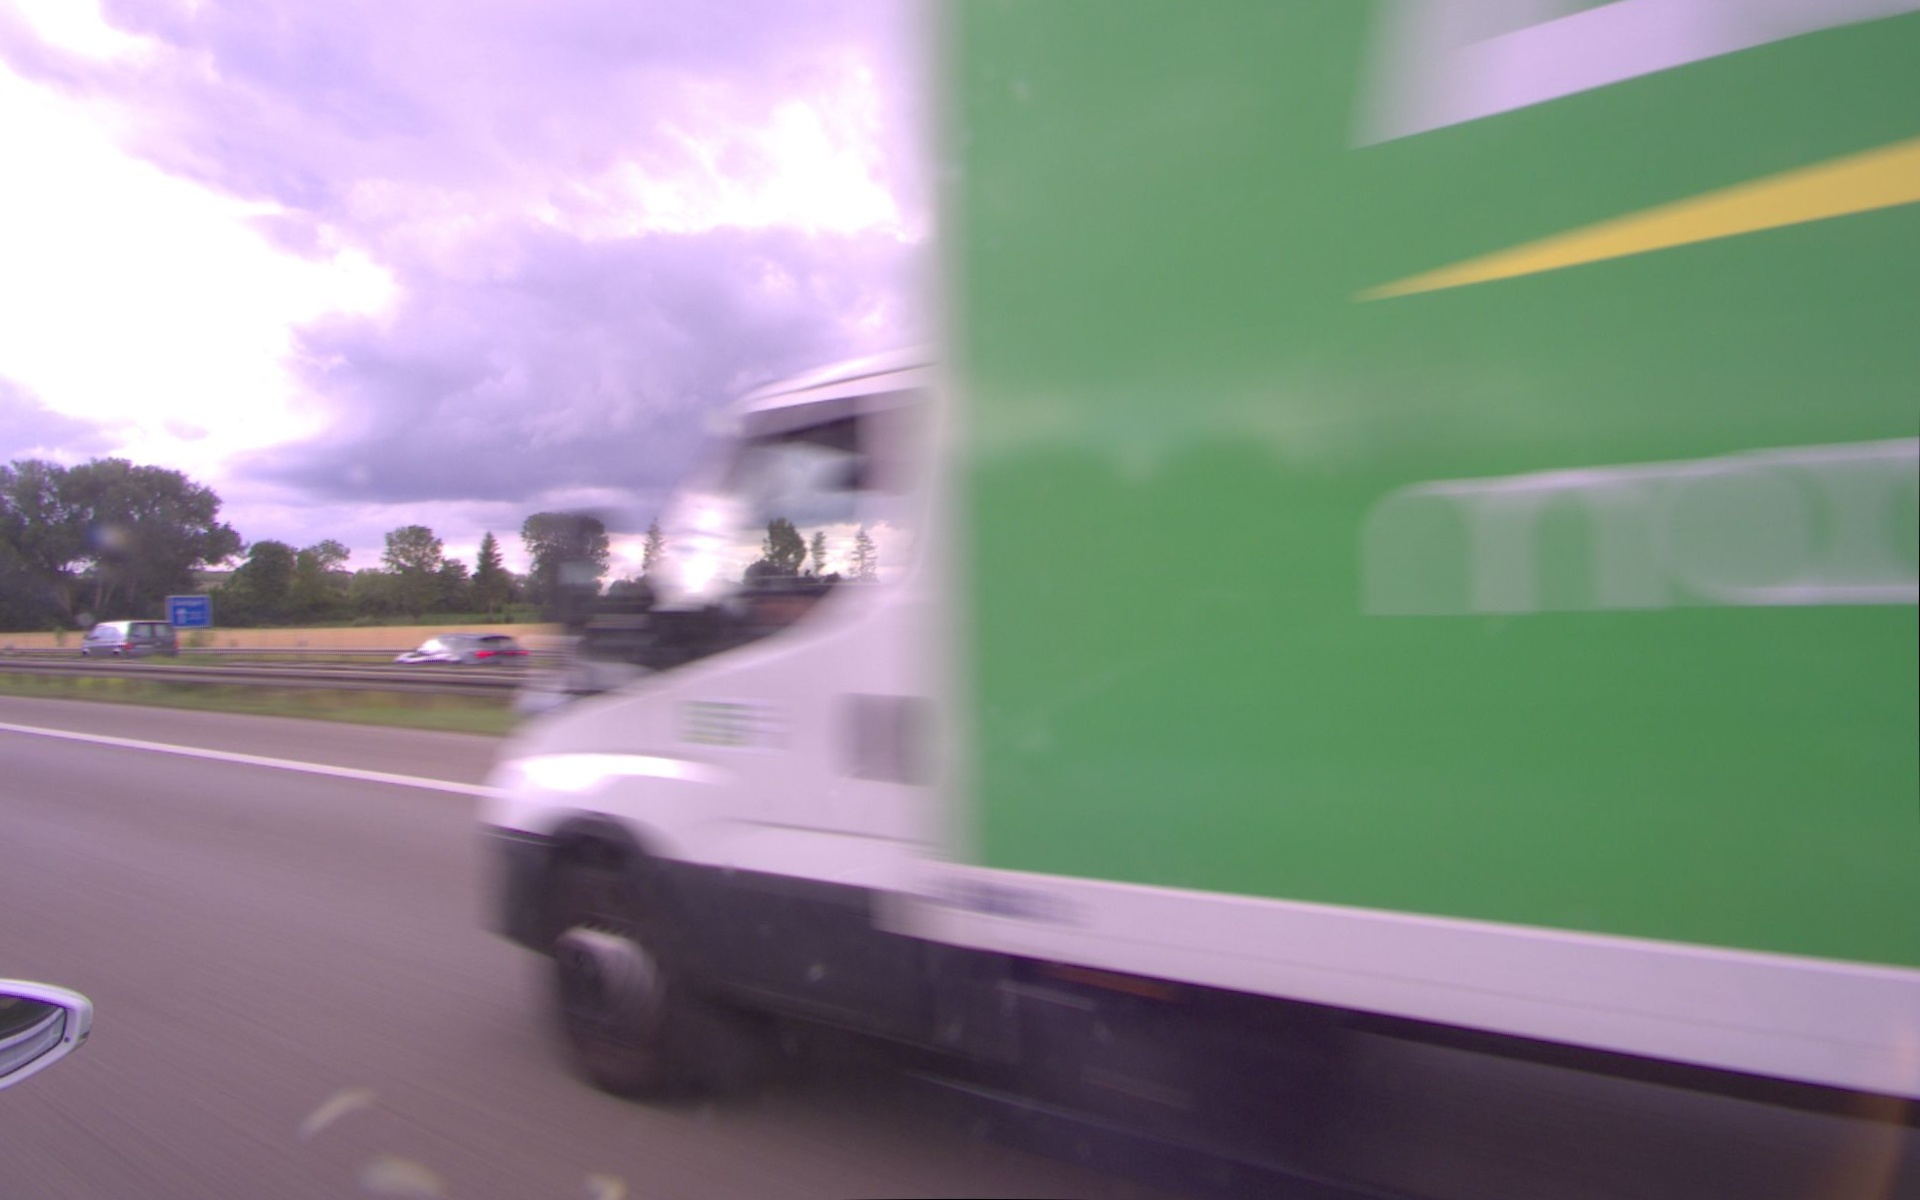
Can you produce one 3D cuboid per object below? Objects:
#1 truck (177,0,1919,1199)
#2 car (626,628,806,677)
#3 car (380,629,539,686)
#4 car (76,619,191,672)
[{"bbox_3d":[1.673,-0.255,2.394,8.933,3.549,2.765,-1,-1,32],"label":"truck"},{"bbox_3d":[-7.294,1.517,29.649,5.633,1.333,1.825,-1,-2,32],"label":"car"},{"bbox_3d":[-14.026,1.576,28.022,4.523,1.503,1.749,-1,-2,29],"label":"car"},{"bbox_3d":[-34.430,1.865,41.669,4.884,2.089,2.141,-1,-1,30],"label":"car"}]
